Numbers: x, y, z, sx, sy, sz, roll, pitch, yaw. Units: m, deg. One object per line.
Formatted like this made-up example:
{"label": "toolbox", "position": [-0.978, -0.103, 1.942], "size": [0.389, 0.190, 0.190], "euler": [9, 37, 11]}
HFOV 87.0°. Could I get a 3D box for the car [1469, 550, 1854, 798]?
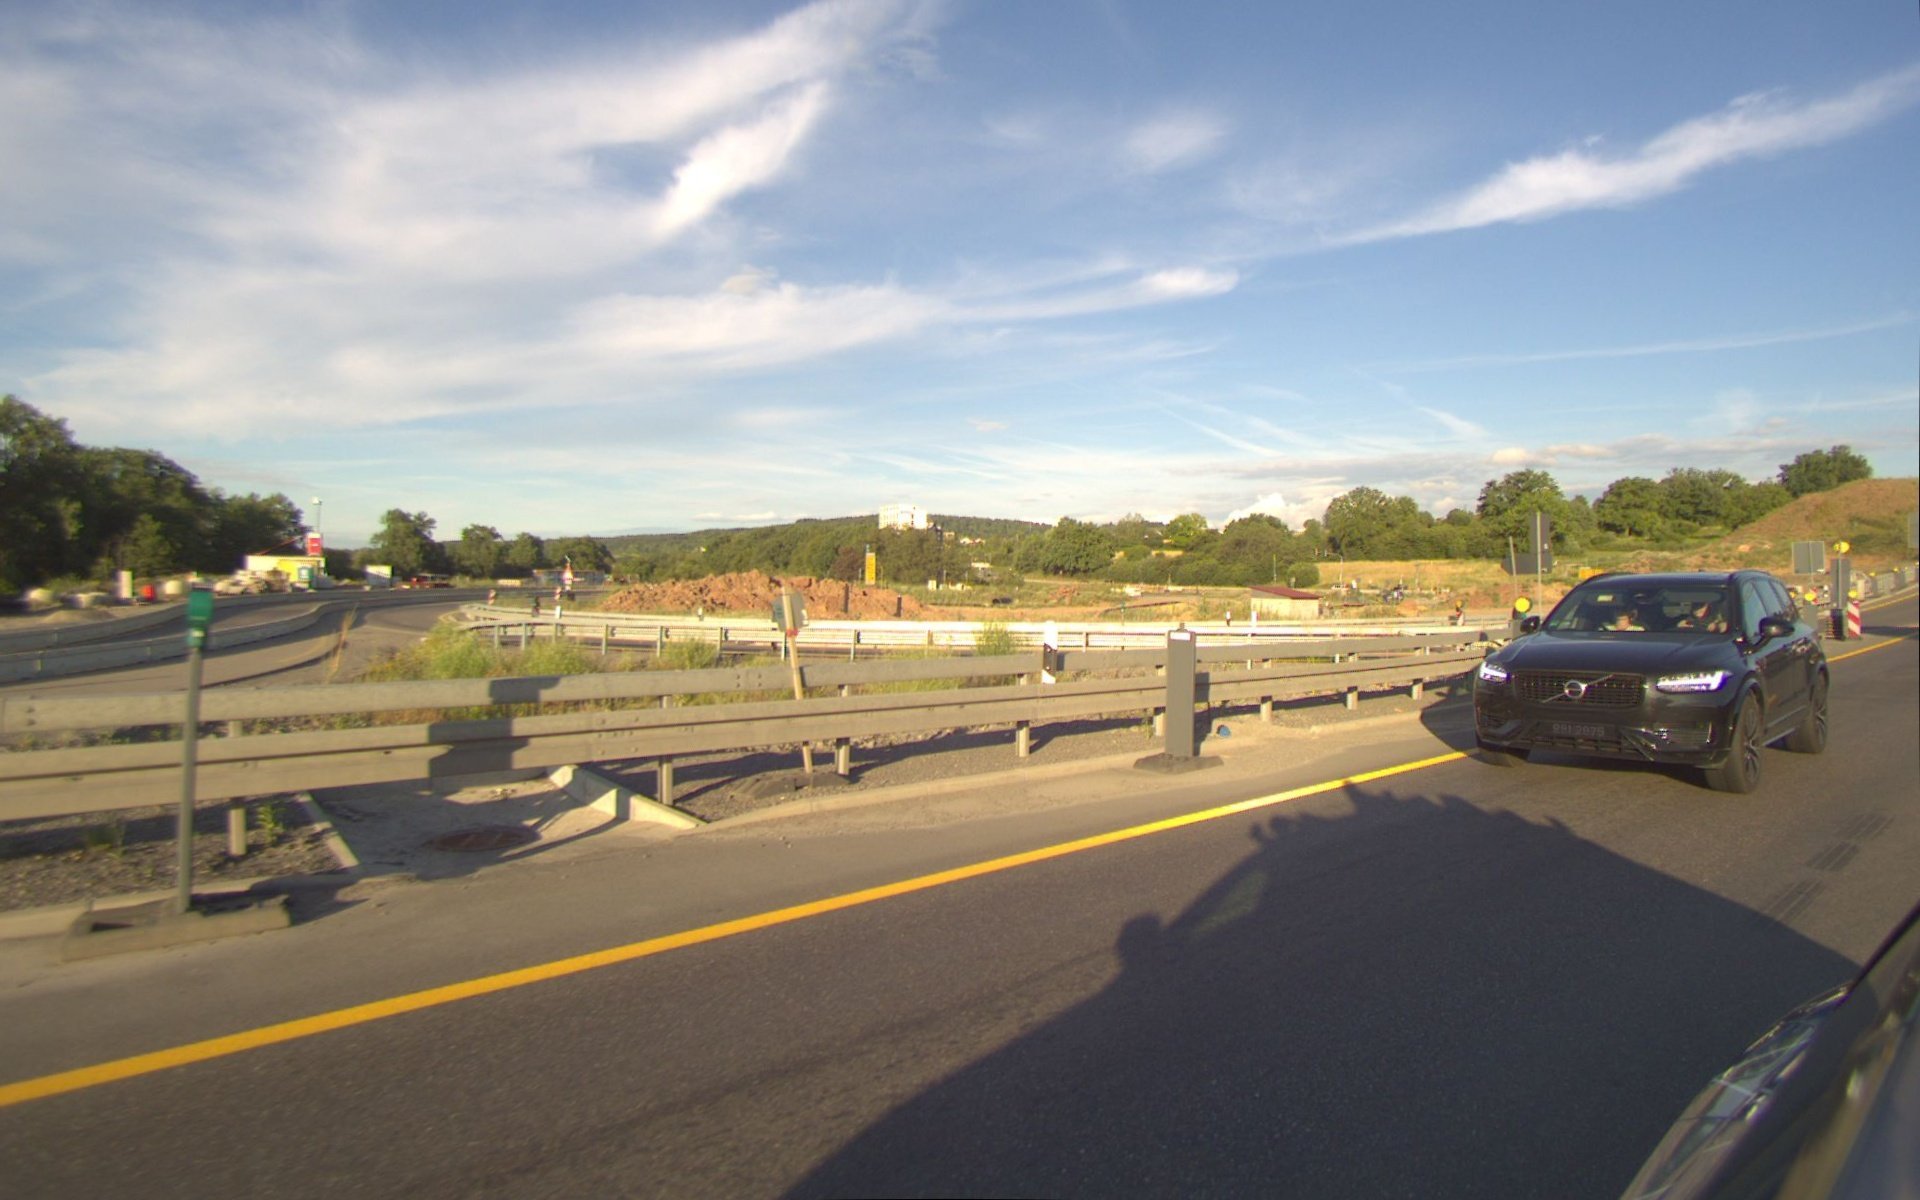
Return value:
{"label": "car", "position": [6.696, 0.522, 9.418], "size": [4.803, 1.735, 1.900], "euler": [0, 0, -42]}
